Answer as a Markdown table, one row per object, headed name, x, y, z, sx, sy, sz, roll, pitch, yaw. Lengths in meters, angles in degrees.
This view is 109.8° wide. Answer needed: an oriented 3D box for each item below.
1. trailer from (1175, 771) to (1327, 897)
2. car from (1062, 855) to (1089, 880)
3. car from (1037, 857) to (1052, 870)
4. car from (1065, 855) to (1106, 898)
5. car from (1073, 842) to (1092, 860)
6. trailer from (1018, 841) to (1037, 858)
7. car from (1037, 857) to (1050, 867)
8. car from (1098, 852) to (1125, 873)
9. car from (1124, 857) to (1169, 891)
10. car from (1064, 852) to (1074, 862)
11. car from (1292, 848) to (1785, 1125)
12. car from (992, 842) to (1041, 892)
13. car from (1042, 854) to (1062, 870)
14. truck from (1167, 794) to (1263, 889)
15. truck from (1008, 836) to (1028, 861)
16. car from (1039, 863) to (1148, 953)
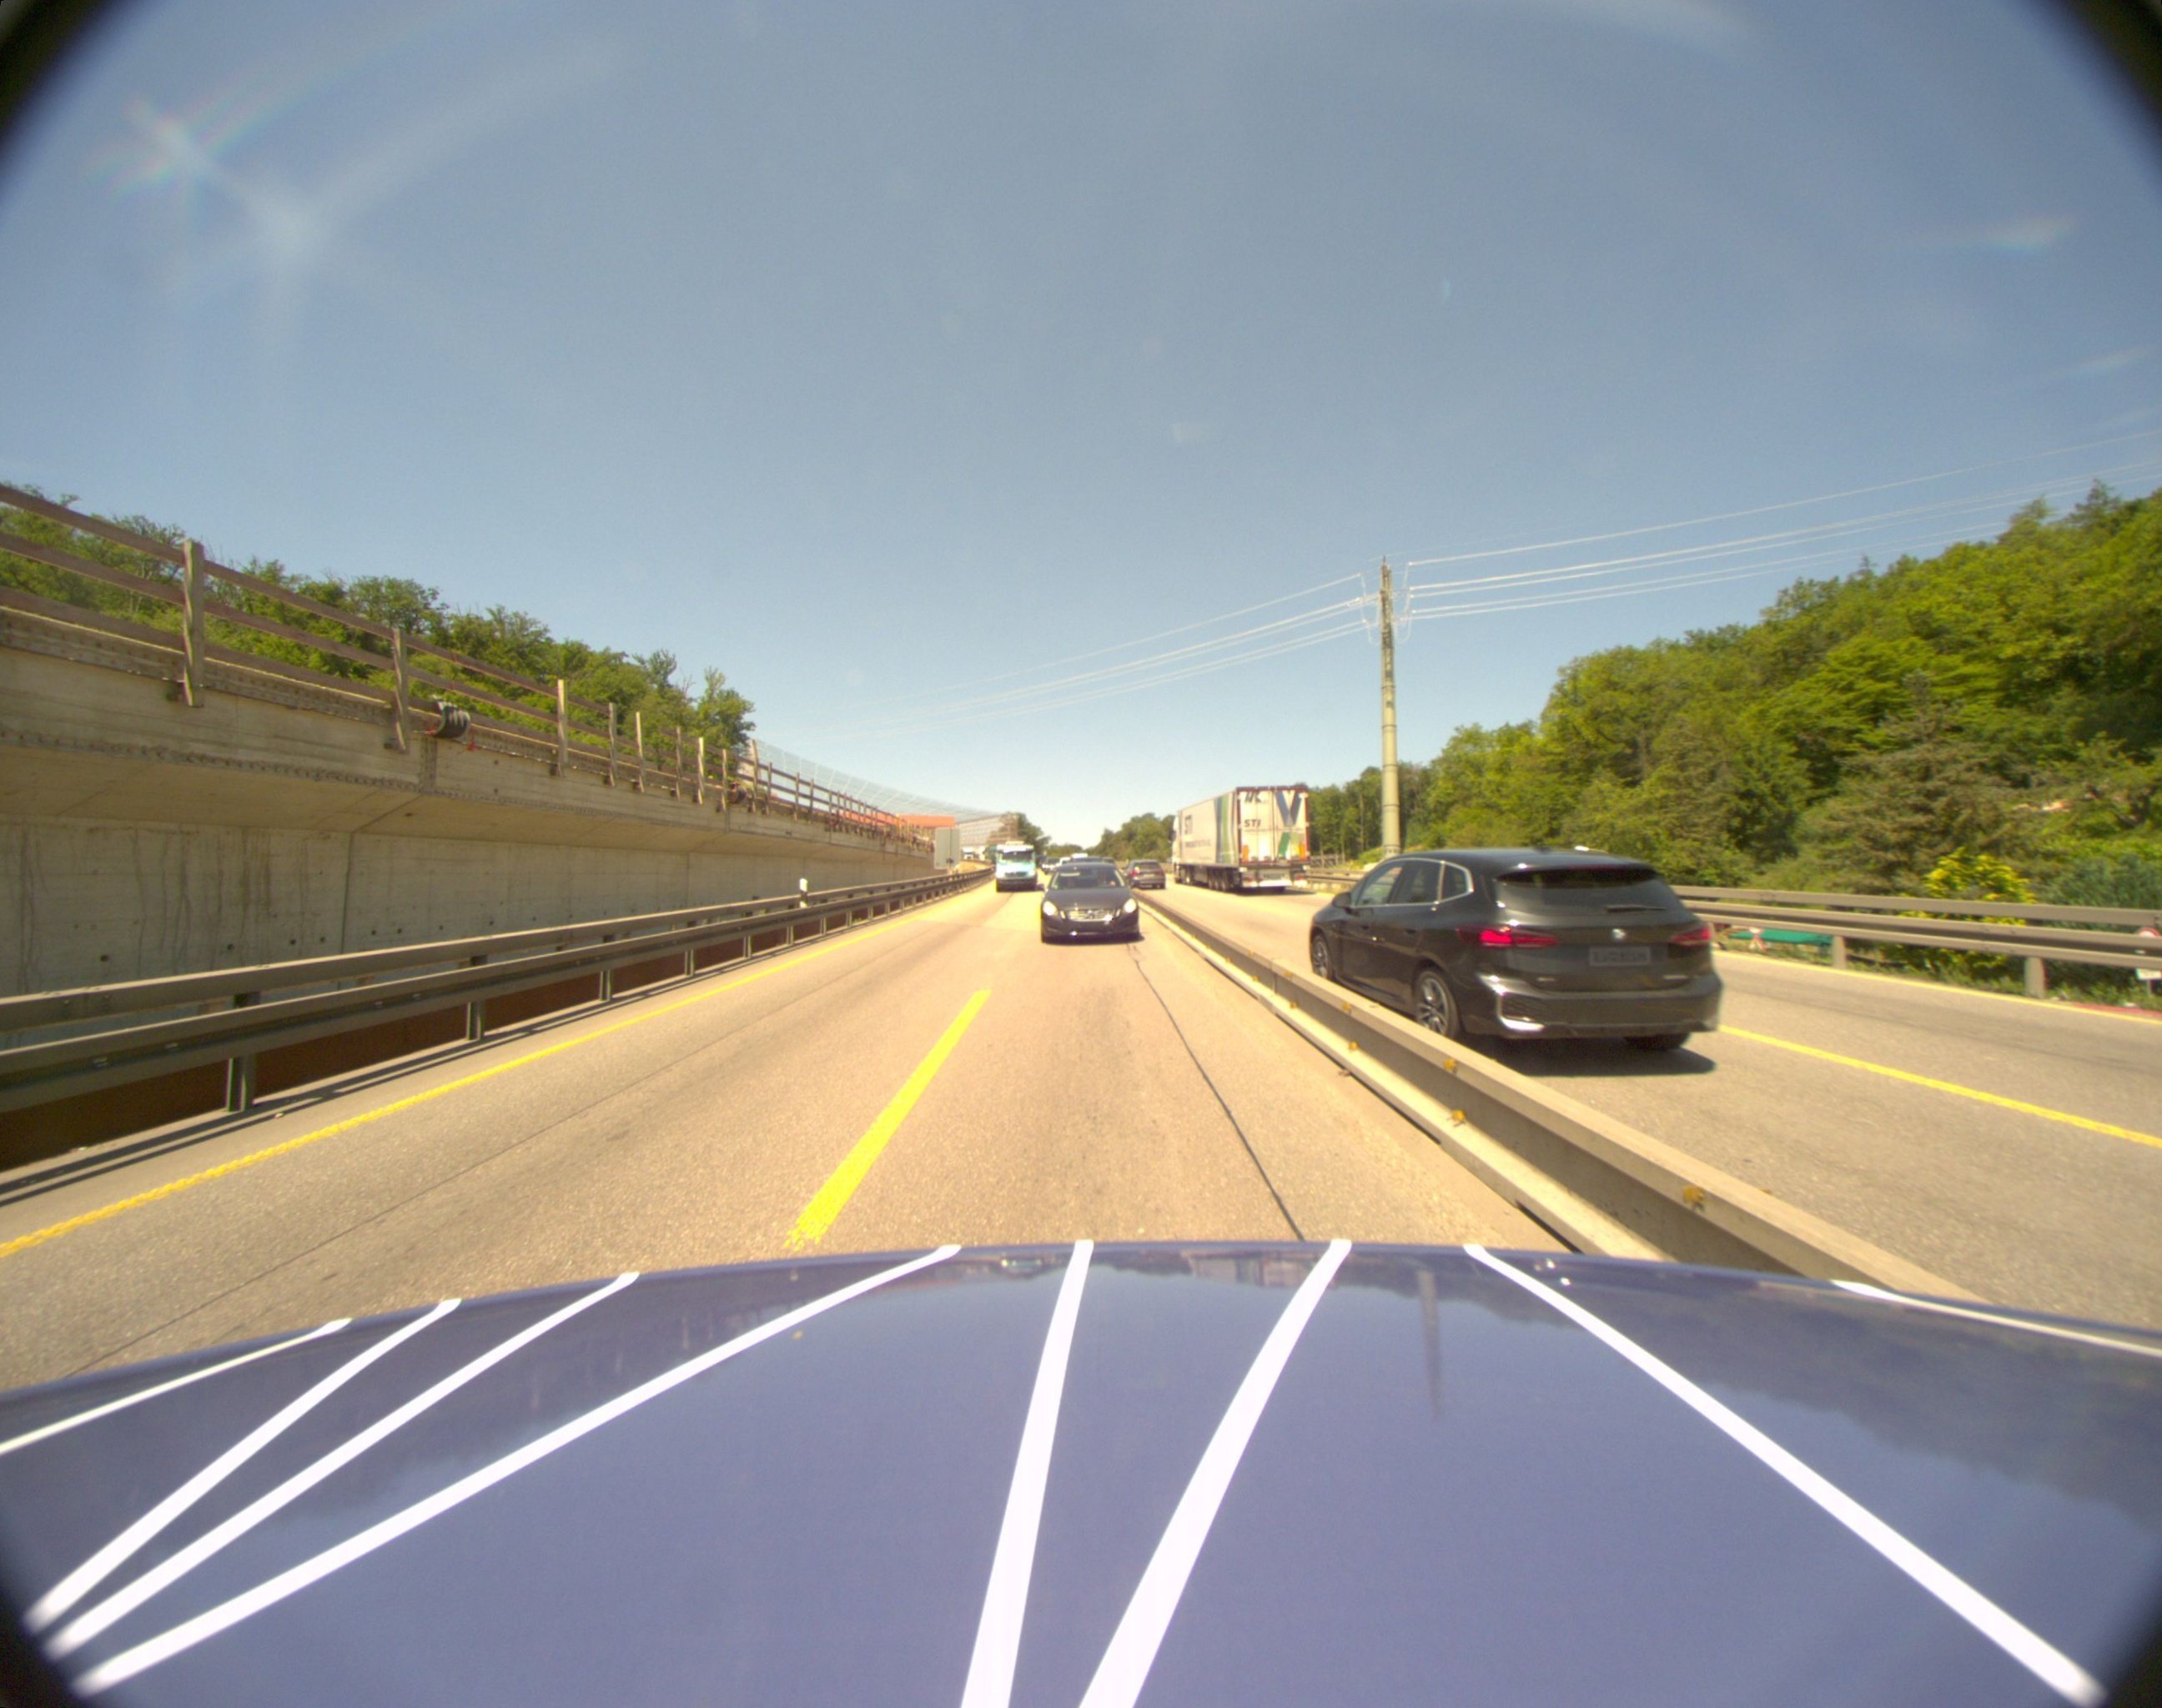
| name | x | y | z | sx | sy | sz | roll | pitch | yaw |
| --- | --- | --- | --- | --- | --- | --- | --- | --- | --- |
| trailer | 6.932 | -0.766 | 34.107 | 3.260 | 4.353 | 14.055 | -2 | 1 | -1 |
| car | -0.395 | 0.939 | 53.519 | 1.736 | 1.557 | 3.619 | -2 | 1 | 0 |
| car | -4.283 | 1.055 | 88.972 | 1.647 | 1.366 | 3.343 | -2 | 1 | -2 |
| car | 0.182 | 0.862 | 31.046 | 1.520 | 1.543 | 3.860 | -2 | 1 | 0 |
| car | 0.141 | -0.393 | 88.924 | 1.999 | 1.999 | 4.856 | -1 | 1 | -2 |
| trailer | -15.235 | -1.274 | 214.533 | 3.501 | 4.460 | 12.911 | -3 | 1 | -12 |
| car | -5.231 | 1.103 | 106.571 | 1.586 | 1.365 | 3.345 | 0 | -1 | 0 |
| car | 2.451 | 0.698 | 62.064 | 1.850 | 1.565 | 3.999 | -2 | 1 | -2 |
| car | 3.144 | 0.938 | 37.283 | 1.795 | 1.444 | 4.634 | -1 | 1 | 0 |
| car | -2.561 | 0.665 | 162.077 | 1.999 | 1.999 | 4.856 | -1 | 1 | -2 |
| car | 3.390 | 0.798 | 6.747 | 1.824 | 1.577 | 4.159 | -4 | 1 | 0 |
| car | -3.242 | 0.612 | 39.422 | 2.218 | 2.312 | 6.899 | -1 | 1 | -3 |
| car | -2.751 | 0.755 | 72.502 | 1.647 | 1.366 | 3.344 | -2 | 1 | 0 |
| truck | 6.830 | -0.623 | 40.109 | 3.312 | 4.337 | 8.299 | -2 | 1 | -1 |
| truck | -9.777 | -0.839 | 116.706 | 2.472 | 3.464 | 9.861 | -3 | 1 | -8 |
| car | 0.092 | 0.961 | 15.413 | 1.844 | 1.475 | 4.561 | -2 | 0 | -3 |
